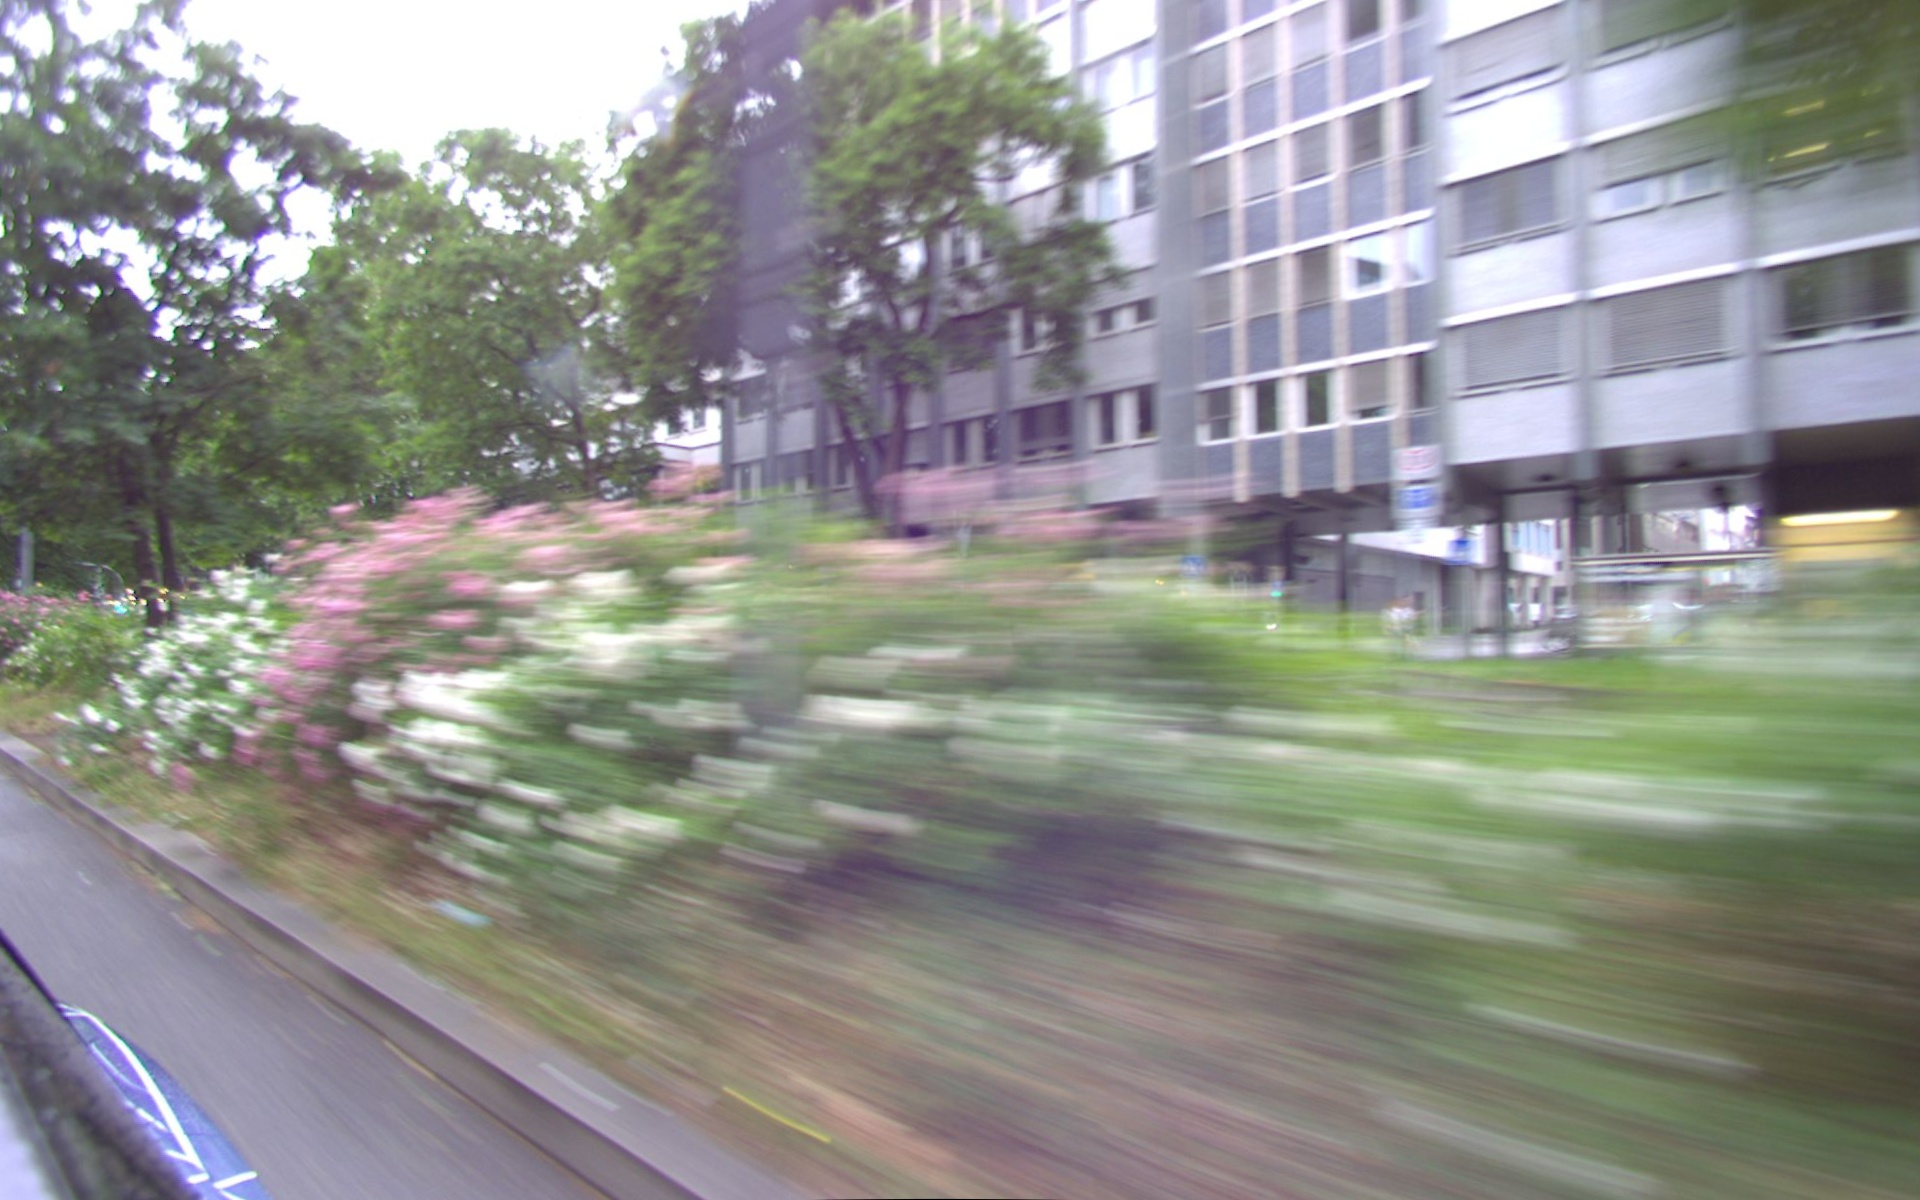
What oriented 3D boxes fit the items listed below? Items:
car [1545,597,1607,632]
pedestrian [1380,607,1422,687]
[{"bbox_3d":[33.412,0.771,54.875,4.145,1.844,1.840,0,-1,-44],"label":"car"},{"bbox_3d":[9.666,1.026,22.169,0.685,1.721,0.558,-2,-2,41],"label":"pedestrian"}]
